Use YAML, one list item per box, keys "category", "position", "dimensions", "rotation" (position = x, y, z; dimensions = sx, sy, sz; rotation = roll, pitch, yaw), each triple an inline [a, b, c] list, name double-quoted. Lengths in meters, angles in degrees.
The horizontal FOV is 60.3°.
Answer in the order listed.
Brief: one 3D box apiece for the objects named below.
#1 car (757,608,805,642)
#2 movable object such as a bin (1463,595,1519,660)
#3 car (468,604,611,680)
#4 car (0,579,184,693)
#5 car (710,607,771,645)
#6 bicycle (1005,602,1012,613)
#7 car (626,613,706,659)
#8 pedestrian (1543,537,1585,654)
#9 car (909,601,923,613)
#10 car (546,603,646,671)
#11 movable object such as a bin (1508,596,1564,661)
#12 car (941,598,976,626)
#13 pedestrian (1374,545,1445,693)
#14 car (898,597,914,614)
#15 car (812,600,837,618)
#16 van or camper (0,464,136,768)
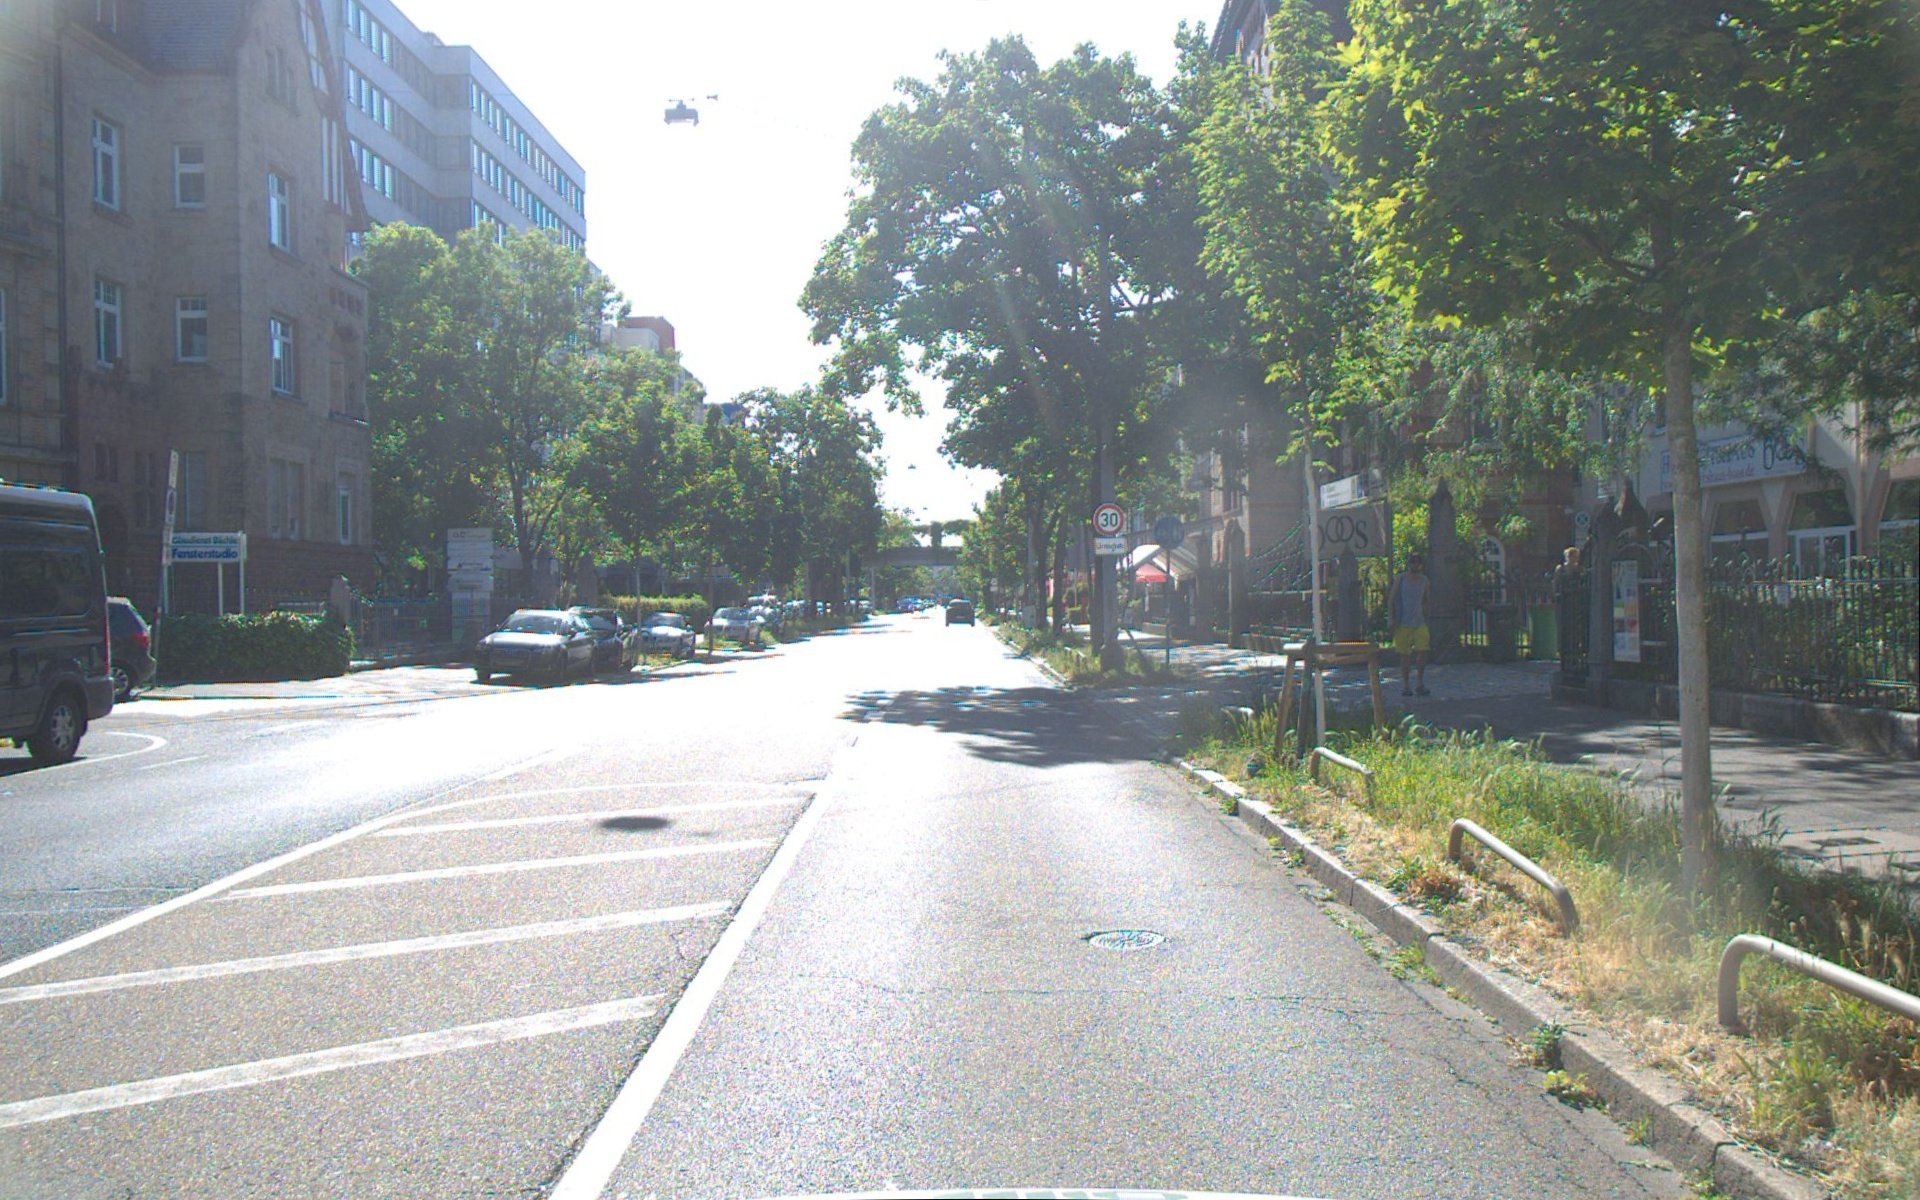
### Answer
- category: "car"
  position: [-8.243, 1.142, 76.358]
  dimensions: [1.676, 1.484, 4.072]
  rotation: [0, 0, 1]
- category: "movable object such as a bin"
  position: [8.447, 0.434, 26.322]
  dimensions: [0.612, 0.982, 0.667]
  rotation: [-3, 0, -1]
- category: "car"
  position: [-9.094, 0.870, 36.189]
  dimensions: [1.818, 1.452, 4.720]
  rotation: [3, 0, 0]
- category: "car"
  position: [-14.878, 0.558, 26.561]
  dimensions: [4.093, 1.699, 1.977]
  rotation: [2, 1, -34]
- category: "car"
  position: [-8.605, 1.003, 65.085]
  dimensions: [1.653, 1.407, 4.192]
  rotation: [0, 0, 2]
- category: "bicycle"
  position: [4.673, 0.751, 160.593]
  dimensions: [0.577, 1.045, 1.859]
  rotation: [0, -1, -1]
- category: "car"
  position: [-8.688, 1.031, 49.092]
  dimensions: [1.644, 1.277, 4.015]
  rotation: [0, 0, 0]
- category: "pedestrian"
  position: [9.452, -0.068, 25.877]
  dimensions: [0.530, 1.809, 0.532]
  rotation: [-2, 0, 25]
- category: "car"
  position: [-5.893, 0.954, 222.779]
  dimensions: [1.818, 1.595, 4.714]
  rotation: [-2, 0, -1]
- category: "car"
  position: [-9.105, 0.893, 41.699]
  dimensions: [1.820, 1.520, 4.701]
  rotation: [3, 0, -5]
- category: "movable object such as a bin"
  position: [9.152, 0.447, 26.290]
  dimensions: [0.612, 0.982, 0.667]
  rotation: [-3, 0, -1]
- category: "car"
  position: [-0.091, 0.700, 98.294]
  dimensions: [1.944, 1.628, 4.139]
  rotation: [0, 0, -2]
- category: "pedestrian"
  position: [5.719, 0.234, 21.080]
  dimensions: [0.732, 1.818, 0.811]
  rotation: [-4, 0, 13]
- category: "car"
  position: [-6.159, 0.598, 189.198]
  dimensions: [1.818, 1.857, 4.608]
  rotation: [-2, 0, -2]
- category: "car"
  position: [-11.678, 0.759, 142.633]
  dimensions: [1.818, 1.549, 4.317]
  rotation: [0, 0, -1]
- category: "van or camper"
  position: [-9.881, 0.163, 14.602]
  dimensions: [2.171, 2.787, 6.087]
  rotation: [-1, 0, 0]
